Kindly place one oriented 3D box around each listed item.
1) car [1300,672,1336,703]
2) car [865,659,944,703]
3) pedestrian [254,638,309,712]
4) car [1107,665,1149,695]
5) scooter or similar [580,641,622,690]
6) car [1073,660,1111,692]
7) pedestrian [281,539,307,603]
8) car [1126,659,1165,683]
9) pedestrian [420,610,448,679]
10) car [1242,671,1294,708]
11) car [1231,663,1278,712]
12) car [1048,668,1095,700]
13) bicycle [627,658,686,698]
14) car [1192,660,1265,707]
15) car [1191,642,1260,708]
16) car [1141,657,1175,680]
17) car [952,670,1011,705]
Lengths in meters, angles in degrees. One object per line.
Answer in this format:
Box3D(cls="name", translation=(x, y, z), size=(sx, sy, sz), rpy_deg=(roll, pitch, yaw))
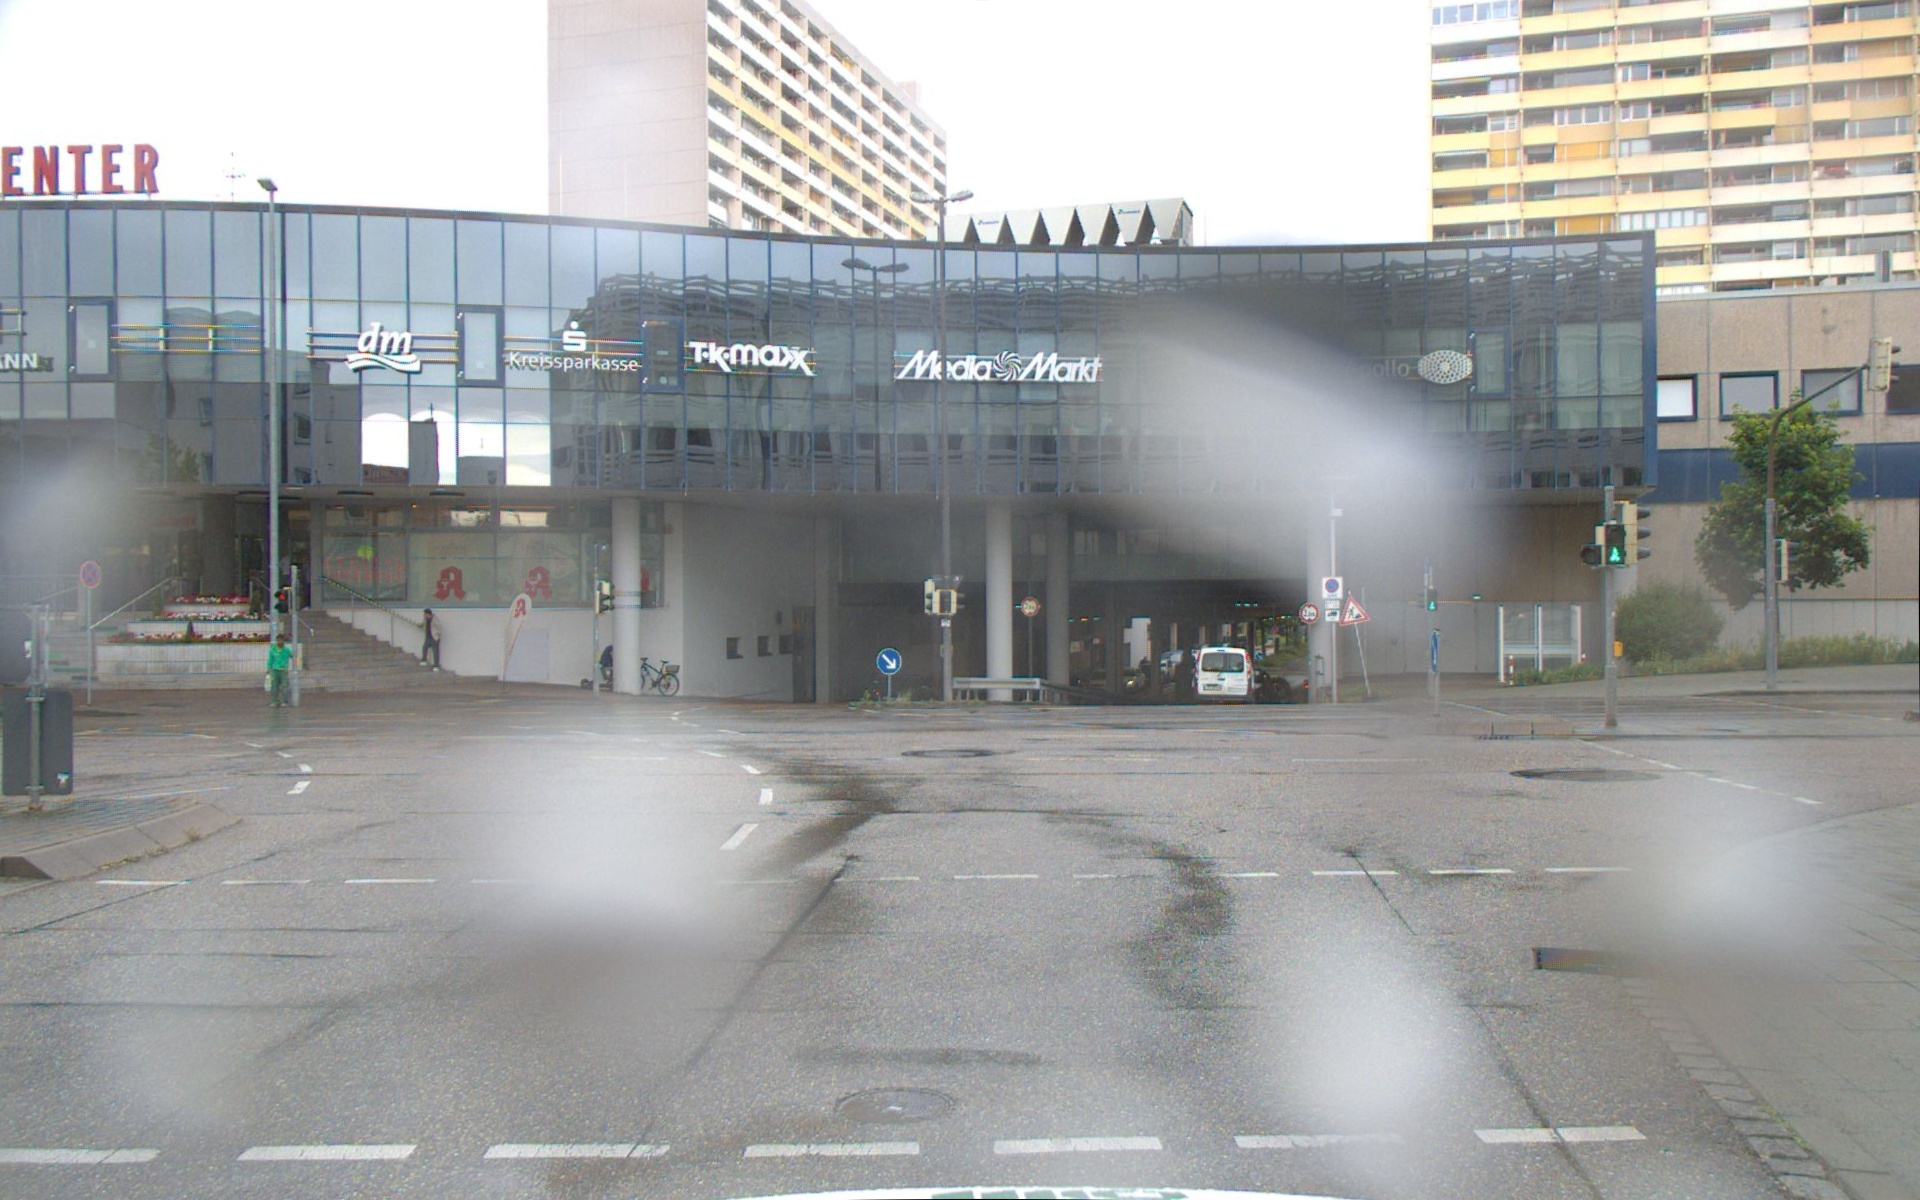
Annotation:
Box3D(cls="car", translation=(19.743, 4.783, 91.118), size=(1.847, 1.517, 3.844), rpy_deg=(1, -1, 13))
Box3D(cls="car", translation=(-2.063, 3.082, 62.445), size=(1.852, 1.496, 4.029), rpy_deg=(-1, -5, 16))
Box3D(cls="pedestrian", translation=(-15.677, 1.721, 38.225), size=(0.929, 1.652, 0.809), rpy_deg=(-1, -1, 0))
Box3D(cls="car", translation=(10.353, 4.921, 101.949), size=(1.951, 1.693, 4.003), rpy_deg=(1, -1, 15))
Box3D(cls="scooter or similar", translation=(-10.428, 1.906, 48.010), size=(1.147, 1.397, 0.487), rpy_deg=(1, -1, -16))
Box3D(cls="car", translation=(7.687, 4.416, 96.128), size=(1.797, 1.758, 4.003), rpy_deg=(-1, -1, 11))
Box3D(cls="pedestrian", translation=(-19.428, -0.851, 48.281), size=(0.622, 1.839, 0.501), rpy_deg=(1, -1, -18))
Box3D(cls="car", translation=(12.306, 4.678, 109.621), size=(1.951, 1.489, 4.003), rpy_deg=(-1, -1, 15))
Box3D(cls="pedestrian", translation=(-14.901, 1.247, 46.860), size=(0.643, 1.942, 0.593), rpy_deg=(1, -1, -9))
Box3D(cls="car", translation=(12.314, 3.593, 66.014), size=(1.741, 1.425, 4.002), rpy_deg=(-1, -4, 15))
Box3D(cls="car", translation=(10.916, 3.267, 61.119), size=(1.598, 1.640, 4.265), rpy_deg=(-2, -5, 11))
Box3D(cls="car", translation=(6.191, 4.612, 91.303), size=(1.874, 1.616, 3.941), rpy_deg=(-1, -1, 15))
Box3D(cls="bicycle", translation=(-8.896, 2.290, 48.532), size=(1.566, 1.036, 0.447), rpy_deg=(7, -4, -32))
Box3D(cls="car", translation=(9.185, 2.876, 56.325), size=(1.721, 1.490, 3.943), rpy_deg=(-2, -4, 20))
Box3D(cls="car", translation=(7.845, 2.186, 48.705), size=(1.884, 1.829, 4.299), rpy_deg=(-1, -2, 10))
Box3D(cls="car", translation=(13.755, 4.758, 114.725), size=(1.951, 1.489, 4.003), rpy_deg=(-1, -1, 12))
Box3D(cls="car", translation=(1.000, 3.926, 74.373), size=(1.733, 1.490, 3.878), rpy_deg=(-1, -3, 15))
